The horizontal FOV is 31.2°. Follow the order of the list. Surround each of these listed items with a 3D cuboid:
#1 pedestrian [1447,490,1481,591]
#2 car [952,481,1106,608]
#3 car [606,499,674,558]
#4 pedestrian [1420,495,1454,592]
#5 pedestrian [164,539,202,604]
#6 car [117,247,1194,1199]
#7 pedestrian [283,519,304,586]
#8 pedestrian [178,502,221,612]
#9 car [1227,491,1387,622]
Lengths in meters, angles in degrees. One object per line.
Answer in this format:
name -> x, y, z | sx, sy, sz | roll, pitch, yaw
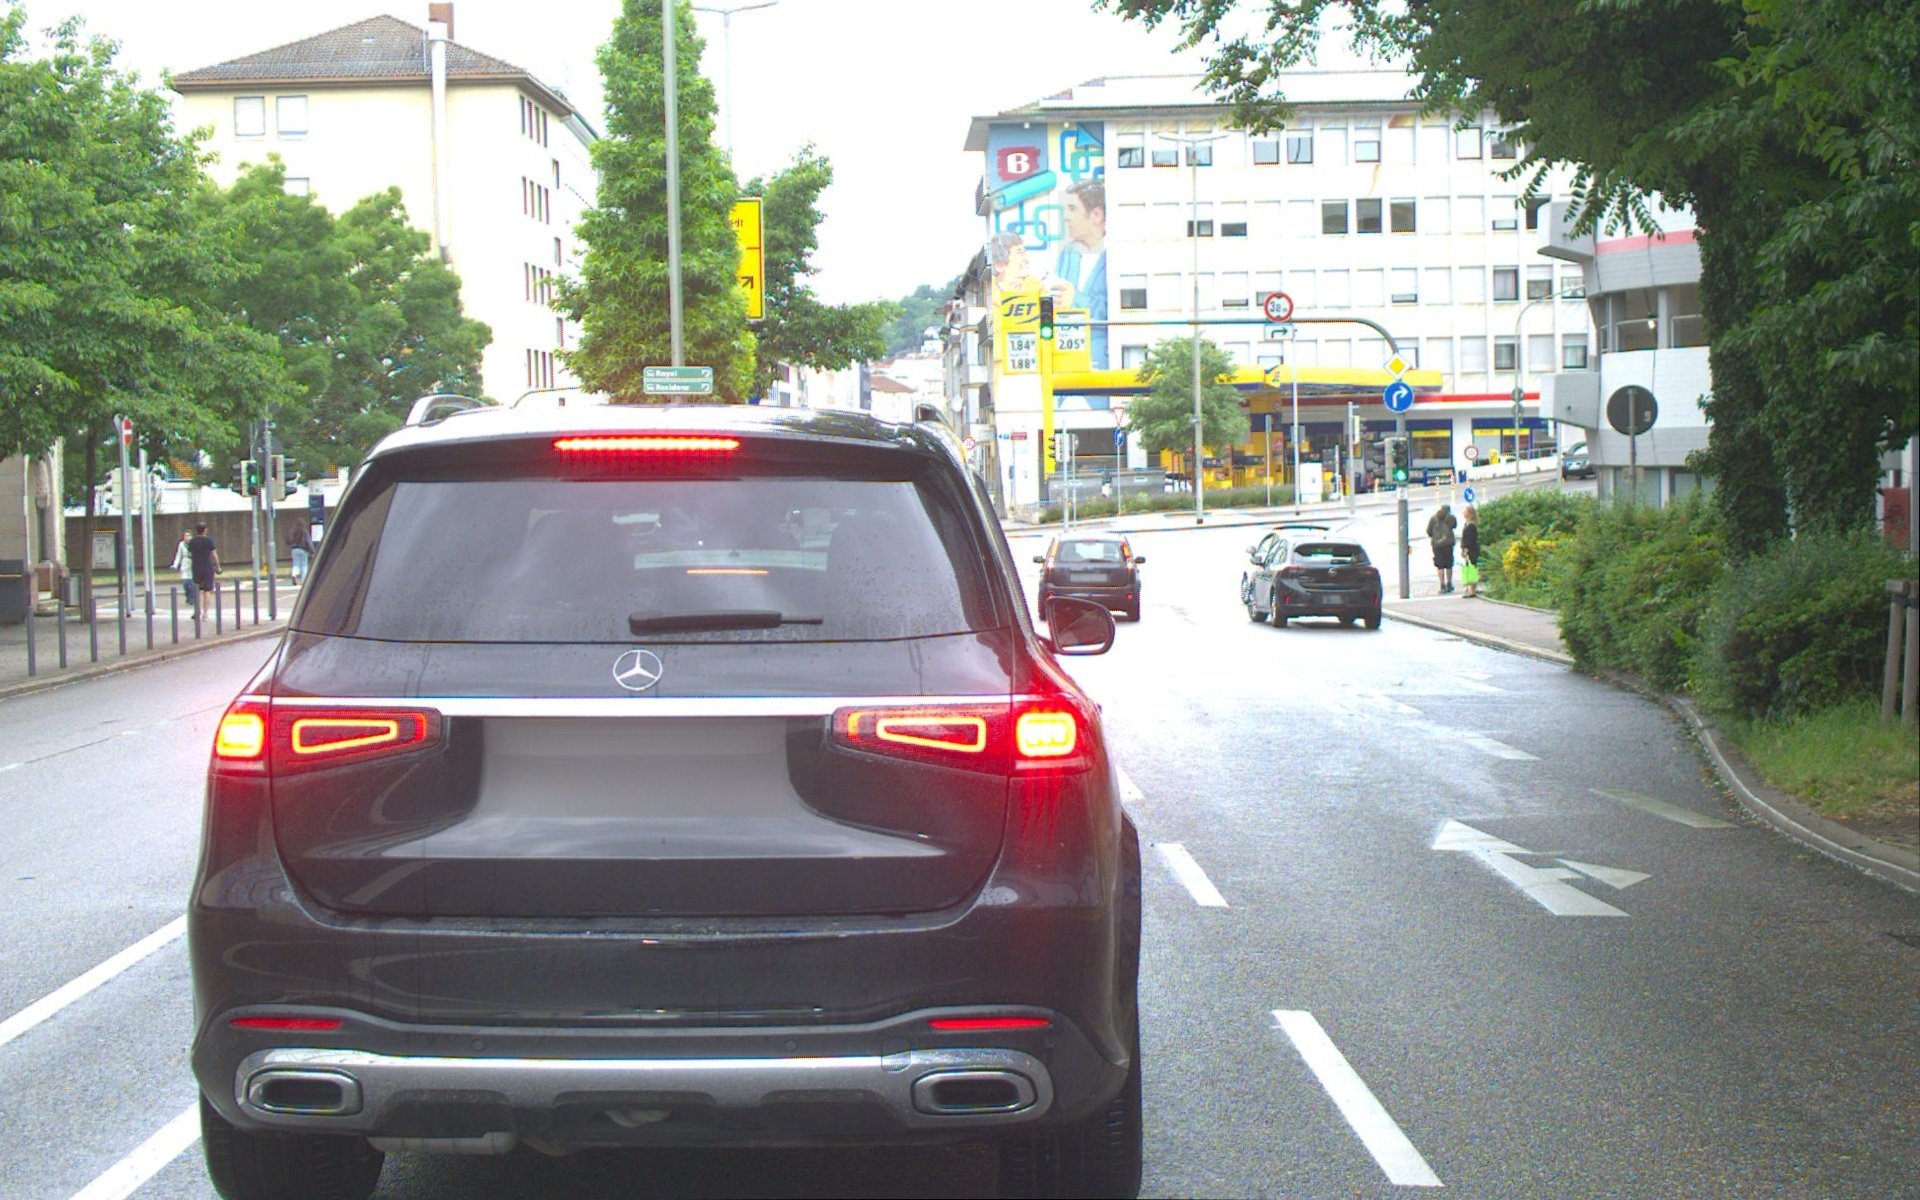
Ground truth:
pedestrian -> 9.584, -1.135, 65.382 | 0.519, 1.904, 0.556 | 1, 0, -1
car -> 1.110, -0.906, 57.407 | 1.993, 2.007, 4.001 | 1, 0, -7
car -> -10.712, -2.389, 115.495 | 1.993, 1.868, 5.142 | 1, 0, -2
pedestrian -> 9.601, -1.128, 69.208 | 0.620, 1.929, 0.610 | 1, 0, 4
pedestrian -> -17.596, -0.652, 77.838 | 0.711, 1.457, 0.598 | 1, 0, -2
car -> -0.639, 0.343, 8.469 | 1.993, 2.007, 4.000 | 1, 0, -2
pedestrian -> -16.488, -1.171, 85.084 | 0.399, 1.639, 0.567 | 1, 0, -1
pedestrian -> -14.010, -0.795, 63.363 | 0.587, 2.006, 0.749 | -1, 2, -2
car -> 5.516, -0.721, 55.122 | 1.993, 2.007, 4.001 | 0, 1, -2
